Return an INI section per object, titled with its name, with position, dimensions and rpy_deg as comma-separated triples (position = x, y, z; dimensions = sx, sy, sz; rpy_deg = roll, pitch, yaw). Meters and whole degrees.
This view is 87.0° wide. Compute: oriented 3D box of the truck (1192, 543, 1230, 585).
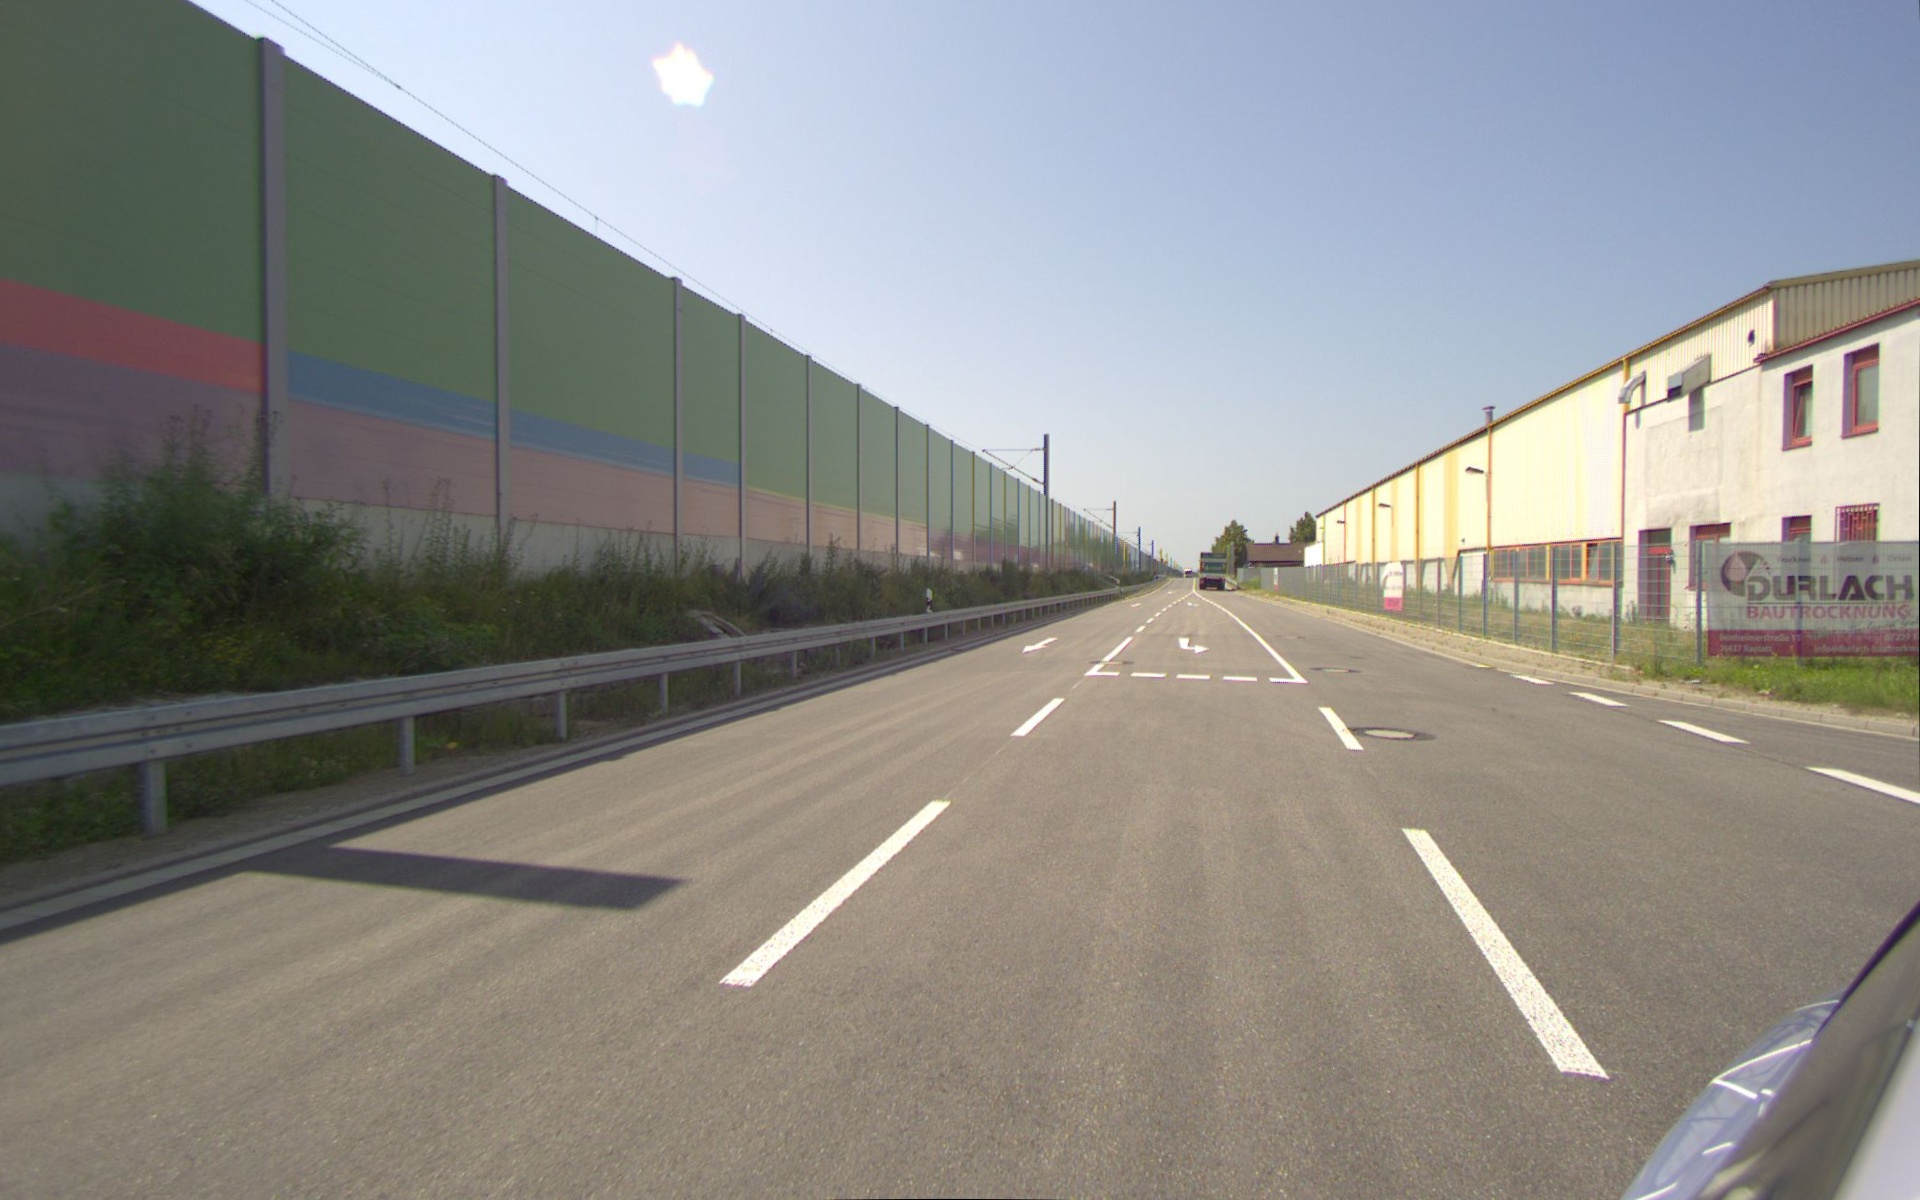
[truck]
position = 25.597, -3.562, 103.013
dimensions = 3.515, 3.926, 11.364
rpy_deg = 1, 1, 14

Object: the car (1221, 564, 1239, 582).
[car]
position = 31.968, -3.182, 120.076
dimensions = 1.971, 2.039, 3.983
rpy_deg = 1, 1, 14
